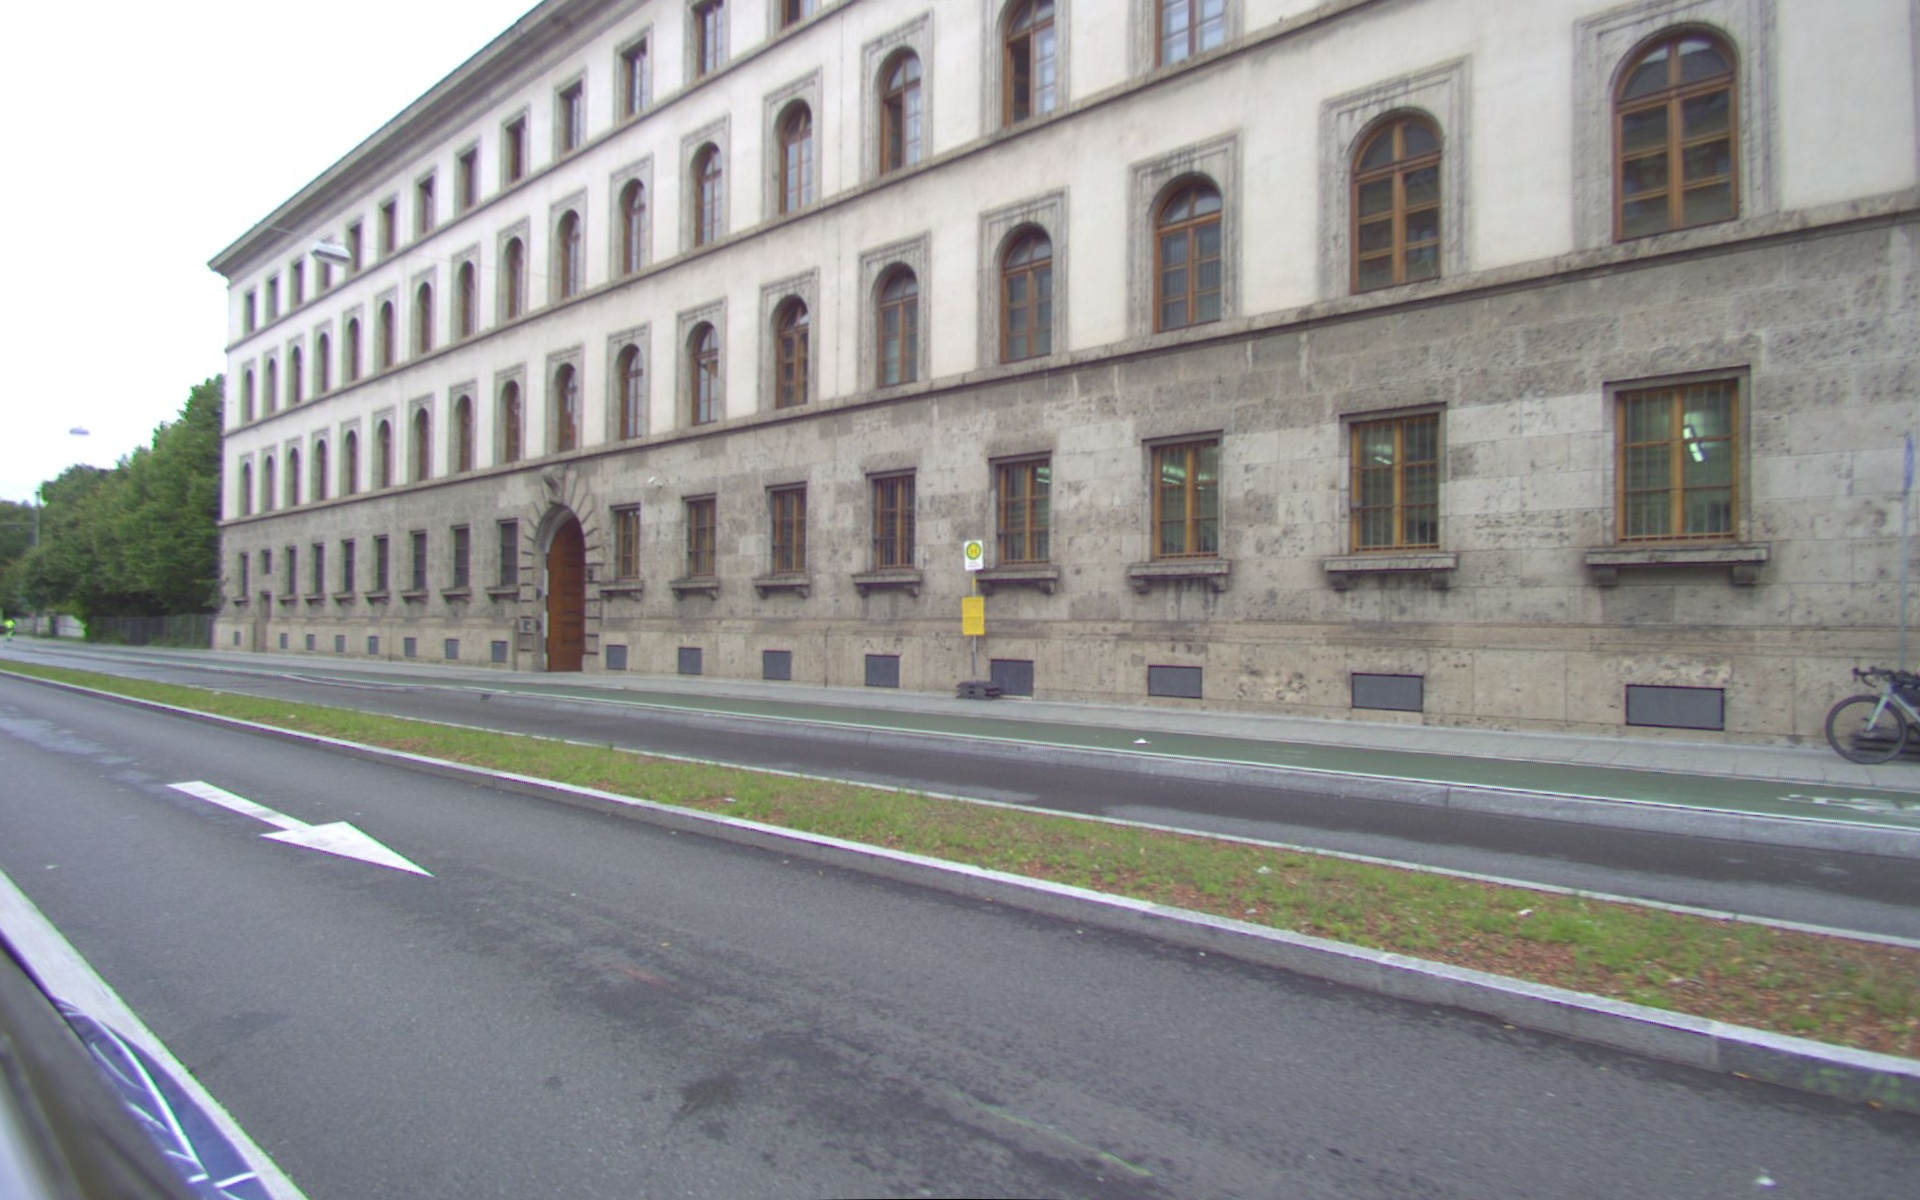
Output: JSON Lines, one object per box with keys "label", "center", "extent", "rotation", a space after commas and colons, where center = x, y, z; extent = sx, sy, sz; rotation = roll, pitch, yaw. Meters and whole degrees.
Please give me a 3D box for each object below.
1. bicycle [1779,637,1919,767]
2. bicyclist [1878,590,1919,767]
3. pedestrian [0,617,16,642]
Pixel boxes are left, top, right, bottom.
{"label": "bicycle", "center": [9.901, 1.028, 10.233], "extent": [2.450, 1.252, 0.778], "rotation": [-1, -1, 45]}
{"label": "bicyclist", "center": [9.835, 0.777, 10.299], "extent": [0.689, 1.762, 0.789], "rotation": [-1, -1, 44]}
{"label": "pedestrian", "center": [-77.436, 2.368, 82.144], "extent": [0.748, 2.029, 0.867], "rotation": [-1, -1, 4]}
